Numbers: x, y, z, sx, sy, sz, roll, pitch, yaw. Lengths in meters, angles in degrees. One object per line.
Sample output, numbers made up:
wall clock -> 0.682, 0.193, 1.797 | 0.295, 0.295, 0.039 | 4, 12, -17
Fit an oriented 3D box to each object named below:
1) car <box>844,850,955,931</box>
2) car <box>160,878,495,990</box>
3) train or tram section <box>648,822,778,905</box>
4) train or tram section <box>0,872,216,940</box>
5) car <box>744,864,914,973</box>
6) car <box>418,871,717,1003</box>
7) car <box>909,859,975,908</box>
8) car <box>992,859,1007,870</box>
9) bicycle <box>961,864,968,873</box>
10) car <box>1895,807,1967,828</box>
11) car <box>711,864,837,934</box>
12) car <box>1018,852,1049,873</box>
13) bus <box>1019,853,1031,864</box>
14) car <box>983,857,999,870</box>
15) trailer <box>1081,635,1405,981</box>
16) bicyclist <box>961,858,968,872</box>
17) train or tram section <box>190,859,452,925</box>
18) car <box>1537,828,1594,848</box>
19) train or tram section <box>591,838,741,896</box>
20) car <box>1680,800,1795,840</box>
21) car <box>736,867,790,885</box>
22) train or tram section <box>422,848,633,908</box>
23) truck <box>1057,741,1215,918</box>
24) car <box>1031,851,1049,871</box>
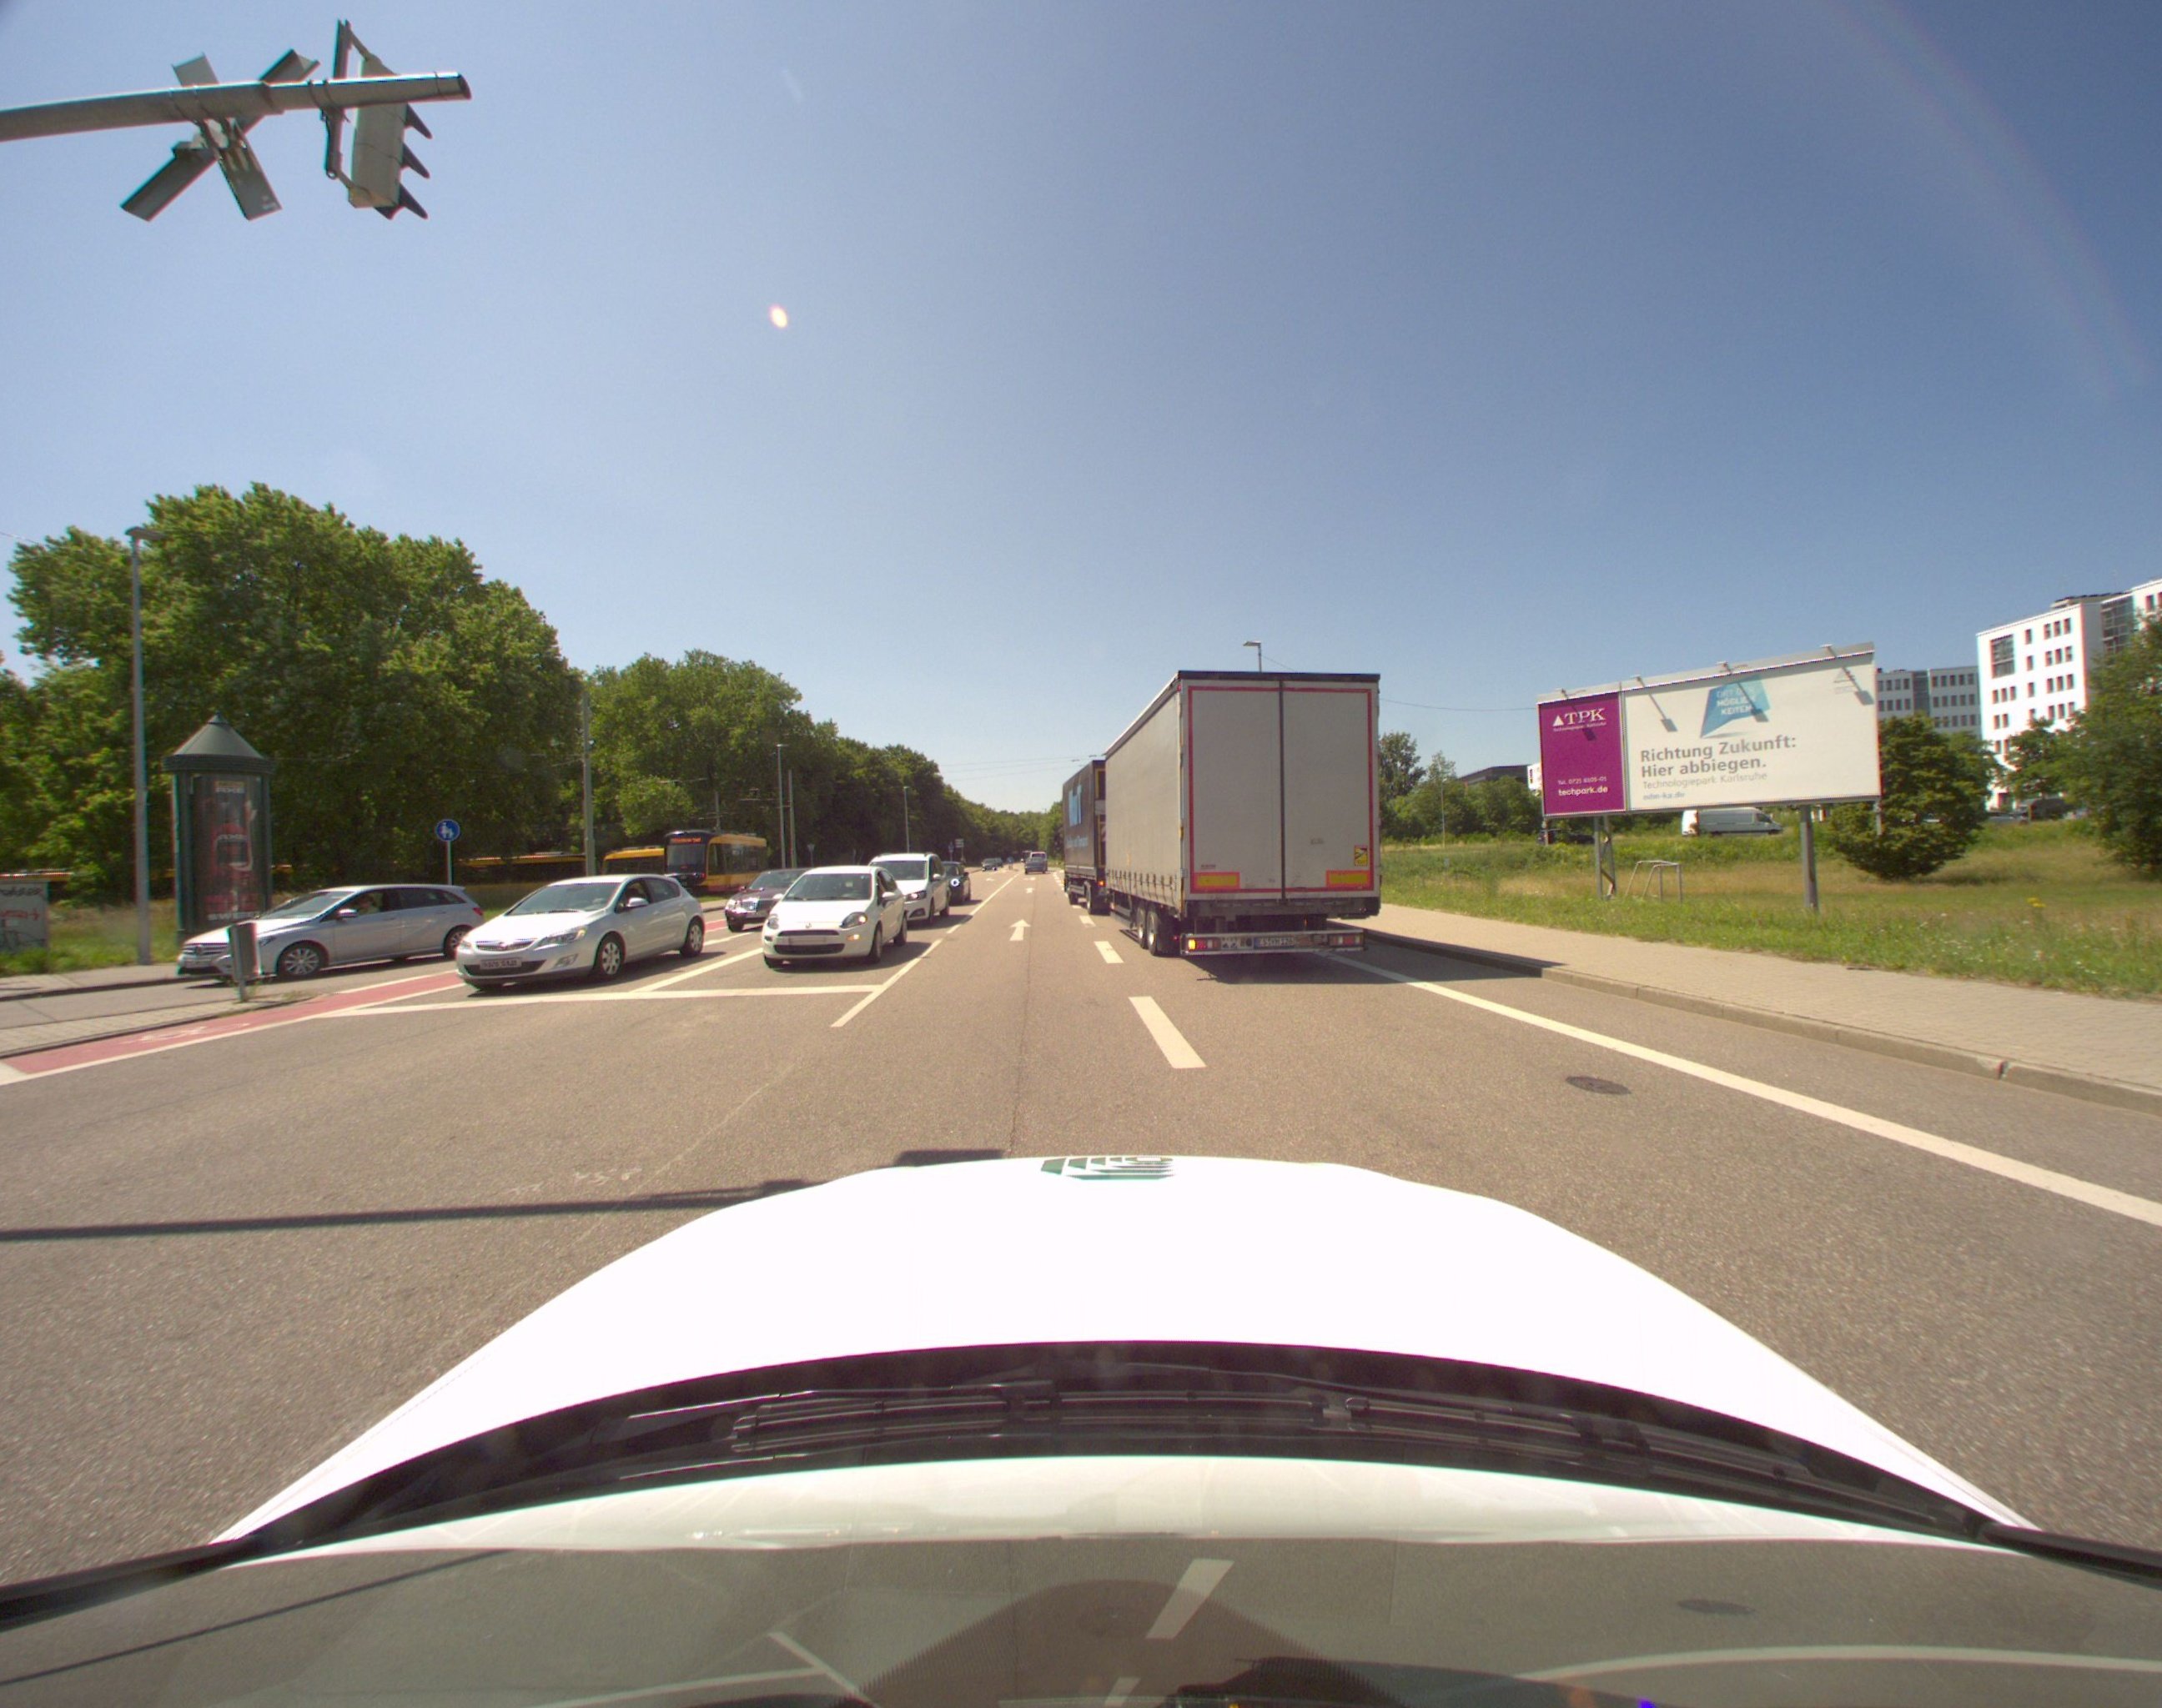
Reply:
car -> -4.329, 0.784, 20.192 | 1.807, 1.723, 4.826 | -2, 0, -3
car -> -13.649, 1.362, 15.171 | 1.729, 1.546, 4.273 | -3, 0, 13
train or tram section -> -19.943, 0.453, 45.337 | 3.015, 3.758, 12.954 | -4, 1, -9
train or tram section -> -68.723, 3.558, 56.386 | 11.484, 3.758, 2.995 | -4, 1, -32
car -> -3.952, 0.928, 13.440 | 1.764, 1.437, 3.955 | -1, 0, -4
car -> -7.406, 1.076, 12.398 | 1.786, 1.455, 4.409 | -3, 0, -2
car -> -4.684, 0.960, 28.000 | 1.719, 1.462, 3.986 | -2, 0, -3
car -> -11.899, 1.542, 118.658 | 1.739, 1.405, 4.438 | -3, 1, -2
bicycle -> -14.490, 1.763, 101.421 | 0.667, 1.055, 2.044 | -1, 0, -1
car -> 66.559, -2.853, 63.817 | 3.595, 1.533, 1.710 | -1, 0, 8
car -> -7.654, 1.059, 20.759 | 1.756, 1.457, 4.280 | -3, 0, -4
car -> -3.921, 0.665, 67.854 | 2.017, 1.632, 4.004 | -3, 0, 3
bus -> -16.632, 1.347, 242.313 | 2.743, 3.045, 11.929 | -5, 0, -2
car -> -10.750, 1.110, 97.390 | 1.618, 1.456, 3.498 | -4, 0, -3
trailer -> 1.965, -0.588, 14.619 | 3.072, 4.069, 9.793 | -2, 0, -5
bicyclist -> -14.497, 1.342, 101.419 | 0.663, 1.706, 0.769 | -1, 0, -2
train or tram section -> -57.716, 2.787, 62.611 | 14.224, 3.758, 3.000 | -4, 0, -26
car -> 39.503, -1.302, 66.491 | 3.601, 1.533, 1.707 | -1, 0, 2
train or tram section -> -32.693, 1.081, 63.836 | 13.868, 3.758, 3.045 | -4, 0, 29
car -> 52.720, -2.689, 65.559 | 6.794, 2.802, 2.673 | -2, -1, 7
car -> -29.279, 1.990, 75.023 | 4.277, 1.417, 1.669 | -3, -1, 5
train or tram section -> -44.890, 1.869, 66.518 | 14.137, 3.758, 3.018 | -4, 0, -8
truck -> 1.184, -0.601, 23.028 | 3.073, 4.069, 7.942 | -2, 0, -6
car -> -4.203, 0.666, 83.567 | 1.651, 1.907, 3.998 | -3, 0, -1
